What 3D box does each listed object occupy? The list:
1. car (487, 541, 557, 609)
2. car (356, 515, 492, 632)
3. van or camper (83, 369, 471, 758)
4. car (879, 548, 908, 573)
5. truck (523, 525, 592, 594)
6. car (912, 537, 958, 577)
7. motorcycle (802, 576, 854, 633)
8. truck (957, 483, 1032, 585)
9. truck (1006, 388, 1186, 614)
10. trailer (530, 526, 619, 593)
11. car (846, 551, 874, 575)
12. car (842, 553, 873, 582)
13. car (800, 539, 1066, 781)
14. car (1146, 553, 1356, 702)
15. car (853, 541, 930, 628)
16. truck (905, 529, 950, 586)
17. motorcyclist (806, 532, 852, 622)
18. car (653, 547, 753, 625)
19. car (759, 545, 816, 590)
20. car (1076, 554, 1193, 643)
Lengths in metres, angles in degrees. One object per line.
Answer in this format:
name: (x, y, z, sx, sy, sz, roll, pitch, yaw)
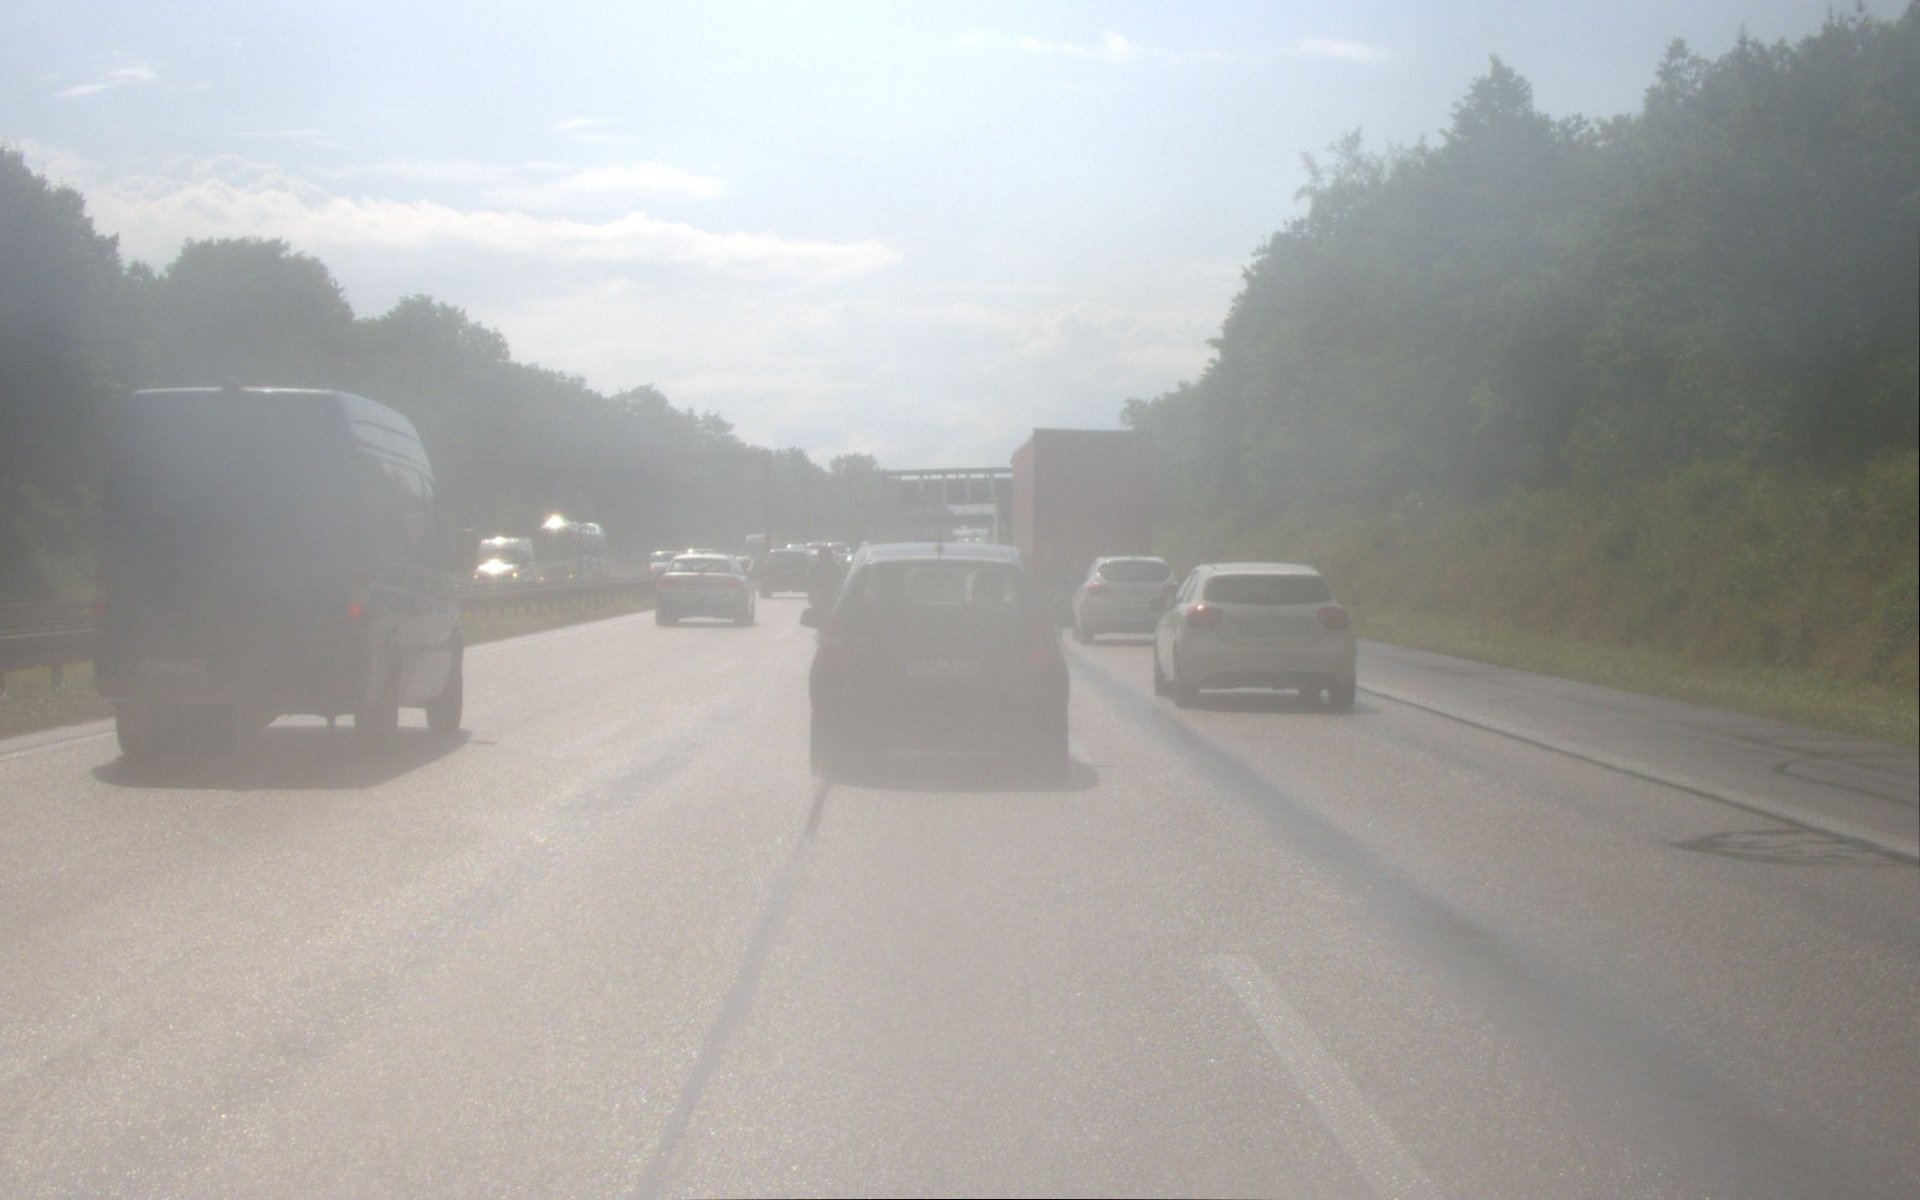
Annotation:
car: (-18.832, -1.094, 148.162, 2.262, 2.860, 6.932, 1, 1, -1)
car: (-11.706, -0.581, 75.434, 2.183, 2.444, 5.748, 1, 1, -1)
van or camper: (-5.092, -0.280, 26.409, 1.993, 2.659, 5.385, 1, 1, -1)
car: (-4.581, -2.753, 237.196, 1.993, 1.695, 4.000, -1, 1, -1)
truck: (-23.149, -2.331, 197.972, 2.990, 3.818, 6.864, 1, 1, 1)
car: (-0.904, -1.507, 120.613, 1.552, 1.378, 3.210, 1, 1, -1)
motorcycle: (-2.412, 0.079, 62.933, 0.890, 0.997, 2.896, 1, 1, -1)
truck: (1.566, -2.954, 156.774, 3.256, 4.464, 12.421, 1, 1, 1)
truck: (2.979, -2.163, 80.701, 3.650, 4.704, 16.779, 1, 1, 1)
trailer: (-23.020, -2.413, 206.296, 2.990, 3.818, 17.952, 1, 1, 1)
car: (-5.589, -2.071, 192.360, 1.549, 1.262, 3.485, 1, 1, -2)
car: (-5.048, -1.614, 169.862, 1.485, 1.385, 3.199, 1, 1, -1)
car: (-0.215, 0.375, 24.234, 1.717, 1.562, 3.485, 1, 1, -1)
car: (2.922, 0.243, 35.308, 1.692, 1.420, 4.220, 1, 1, -1)
car: (-1.430, -0.327, 71.225, 1.531, 1.740, 3.485, 1, 1, -1)
truck: (-1.663, -2.149, 174.336, 2.192, 2.865, 4.850, 1, 1, -1)
motorcyclist: (-2.389, -0.420, 62.884, 0.801, 1.627, 1.013, 1, 0, -1)
car: (-5.260, -0.301, 70.654, 1.854, 1.546, 3.485, 1, 1, -1)
car: (-5.660, -1.069, 113.135, 1.751, 1.452, 3.390, 1, 1, -1)
car: (2.928, -0.044, 58.189, 1.680, 1.437, 3.905, 1, 1, -1)
